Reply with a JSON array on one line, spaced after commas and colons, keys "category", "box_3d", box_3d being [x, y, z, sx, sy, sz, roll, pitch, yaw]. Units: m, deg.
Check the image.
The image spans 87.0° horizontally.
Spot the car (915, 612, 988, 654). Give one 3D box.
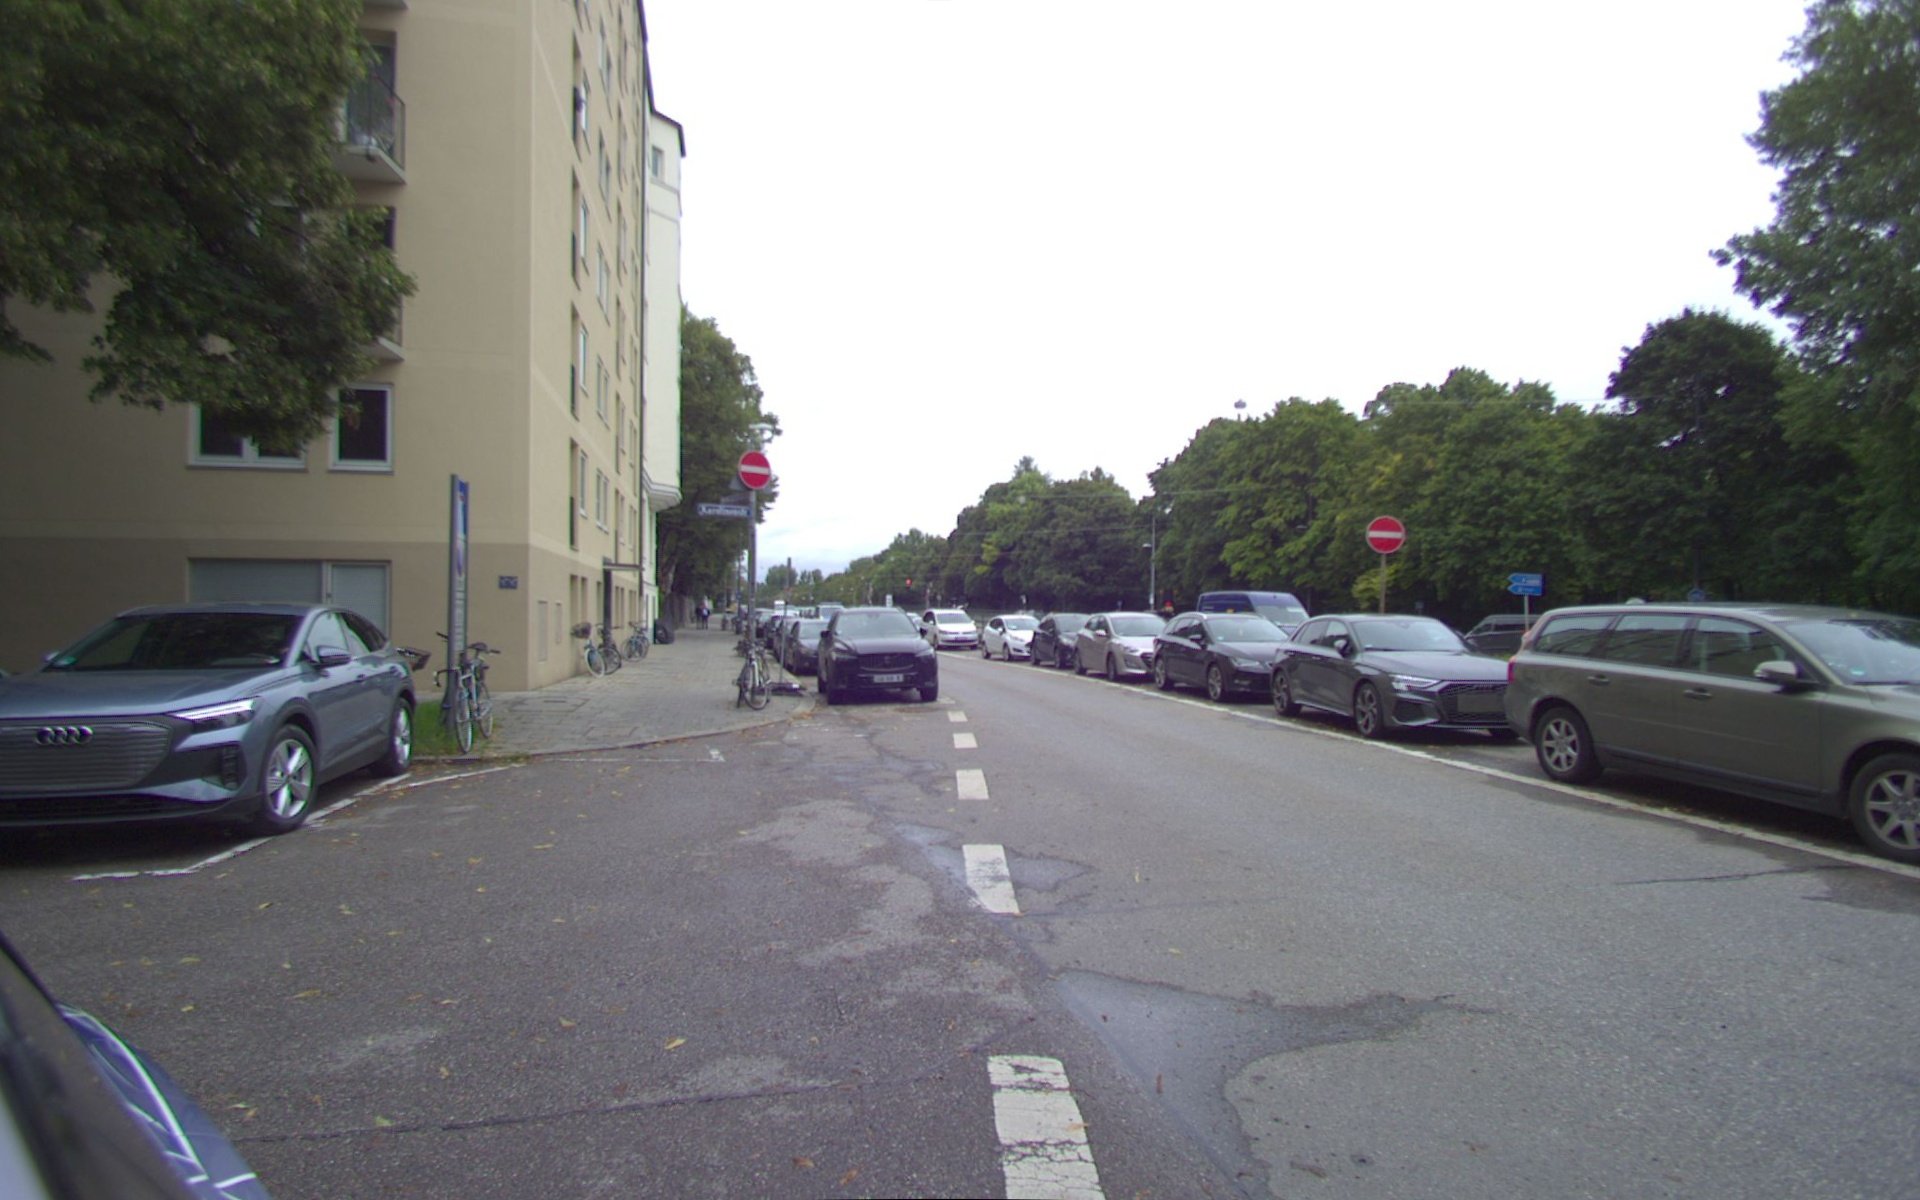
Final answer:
[{"category": "car", "box_3d": [-0.453, 1.374, 43.982, 2.041, 1.715, 5.104, 0, -1, -14]}]

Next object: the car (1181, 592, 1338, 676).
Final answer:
[{"category": "car", "box_3d": [9.615, 1.013, 33.174, 2.154, 2.482, 5.868, 0, 0, -15]}]

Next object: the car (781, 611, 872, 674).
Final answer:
[{"category": "car", "box_3d": [-3.803, 1.118, 28.135, 2.096, 1.577, 4.518, -1, -1, -12]}]

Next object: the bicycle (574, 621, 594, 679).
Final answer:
[{"category": "bicycle", "box_3d": [-7.907, 1.024, 21.266, 0.357, 1.180, 1.323, 0, -1, -22]}]

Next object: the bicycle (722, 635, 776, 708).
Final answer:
[{"category": "bicycle", "box_3d": [-3.260, 1.077, 15.745, 0.623, 1.045, 1.737, 1, -1, -5]}]

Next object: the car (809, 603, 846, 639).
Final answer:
[{"category": "car", "box_3d": [-8.485, 1.285, 64.403, 1.827, 2.227, 4.566, 0, 0, -14]}]

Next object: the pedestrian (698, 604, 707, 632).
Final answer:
[{"category": "pedestrian", "box_3d": [-18.845, 1.350, 73.980, 0.450, 2.029, 0.620, 1, -2, -29]}]

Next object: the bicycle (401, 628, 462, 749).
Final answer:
[{"category": "bicycle", "box_3d": [-5.803, 0.933, 11.144, 0.277, 1.240, 1.242, 1, -1, -13]}]

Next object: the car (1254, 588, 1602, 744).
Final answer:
[{"category": "car", "box_3d": [5.413, 0.702, 12.478, 1.963, 1.577, 4.288, 0, -1, -6]}]

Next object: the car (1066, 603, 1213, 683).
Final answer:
[{"category": "car", "box_3d": [3.816, 0.887, 22.312, 1.962, 1.577, 4.290, 0, -1, -8]}]

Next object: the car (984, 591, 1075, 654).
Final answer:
[{"category": "car", "box_3d": [2.312, 0.758, 34.826, 1.966, 2.029, 4.011, 0, -1, -14]}]

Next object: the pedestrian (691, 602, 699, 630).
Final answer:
[{"category": "pedestrian", "box_3d": [-19.188, 1.170, 73.243, 0.450, 2.029, 0.620, 1, -2, -29]}]

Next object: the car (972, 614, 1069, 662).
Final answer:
[{"category": "car", "box_3d": [1.893, 1.205, 33.139, 1.960, 1.467, 4.294, 0, -1, -14]}]

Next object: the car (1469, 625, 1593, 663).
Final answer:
[{"category": "car", "box_3d": [24.690, 1.876, 43.997, 1.966, 1.546, 4.720, 1, -1, -15]}]

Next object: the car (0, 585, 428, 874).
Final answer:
[{"category": "car", "box_3d": [-5.573, 0.743, 7.648, 1.795, 1.577, 4.256, 0, -1, -14]}]

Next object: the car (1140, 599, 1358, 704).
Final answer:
[{"category": "car", "box_3d": [4.778, 0.813, 17.475, 1.962, 1.577, 4.291, 0, -1, -9]}]

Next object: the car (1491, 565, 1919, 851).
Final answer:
[{"category": "car", "box_3d": [6.080, 0.620, 7.036, 1.876, 1.577, 4.776, 0, -1, -6]}]

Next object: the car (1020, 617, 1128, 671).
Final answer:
[{"category": "car", "box_3d": [3.060, 1.157, 28.049, 1.739, 1.380, 4.293, 0, -1, -12]}]

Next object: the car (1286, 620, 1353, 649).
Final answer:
[{"category": "car", "box_3d": [21.201, 1.987, 59.803, 1.881, 1.569, 4.010, 0, 0, -12]}]

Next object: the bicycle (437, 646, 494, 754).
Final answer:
[{"category": "bicycle", "box_3d": [-5.357, 1.056, 10.997, 0.277, 1.069, 1.242, 1, -1, -13]}]

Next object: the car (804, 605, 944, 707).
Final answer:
[{"category": "car", "box_3d": [-1.708, 0.928, 18.438, 2.096, 1.577, 4.517, -1, -1, -10]}]

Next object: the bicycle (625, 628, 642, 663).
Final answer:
[{"category": "bicycle", "box_3d": [-9.648, 1.329, 29.866, 0.455, 1.012, 1.323, 0, -1, -18]}]

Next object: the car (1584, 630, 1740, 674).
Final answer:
[{"category": "car", "box_3d": [25.803, 1.881, 37.437, 1.966, 1.457, 4.538, 1, -1, -15]}]

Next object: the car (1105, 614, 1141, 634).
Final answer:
[{"category": "car", "box_3d": [14.294, 2.095, 89.001, 1.837, 1.759, 4.009, 0, -1, -11]}]

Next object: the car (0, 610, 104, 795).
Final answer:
[{"category": "car", "box_3d": [-8.441, 0.800, 7.113, 2.020, 1.478, 4.256, 0, -1, -14]}]

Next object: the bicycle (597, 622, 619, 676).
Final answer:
[{"category": "bicycle", "box_3d": [-7.987, 1.097, 22.935, 0.394, 1.180, 1.323, 0, -1, -22]}]
